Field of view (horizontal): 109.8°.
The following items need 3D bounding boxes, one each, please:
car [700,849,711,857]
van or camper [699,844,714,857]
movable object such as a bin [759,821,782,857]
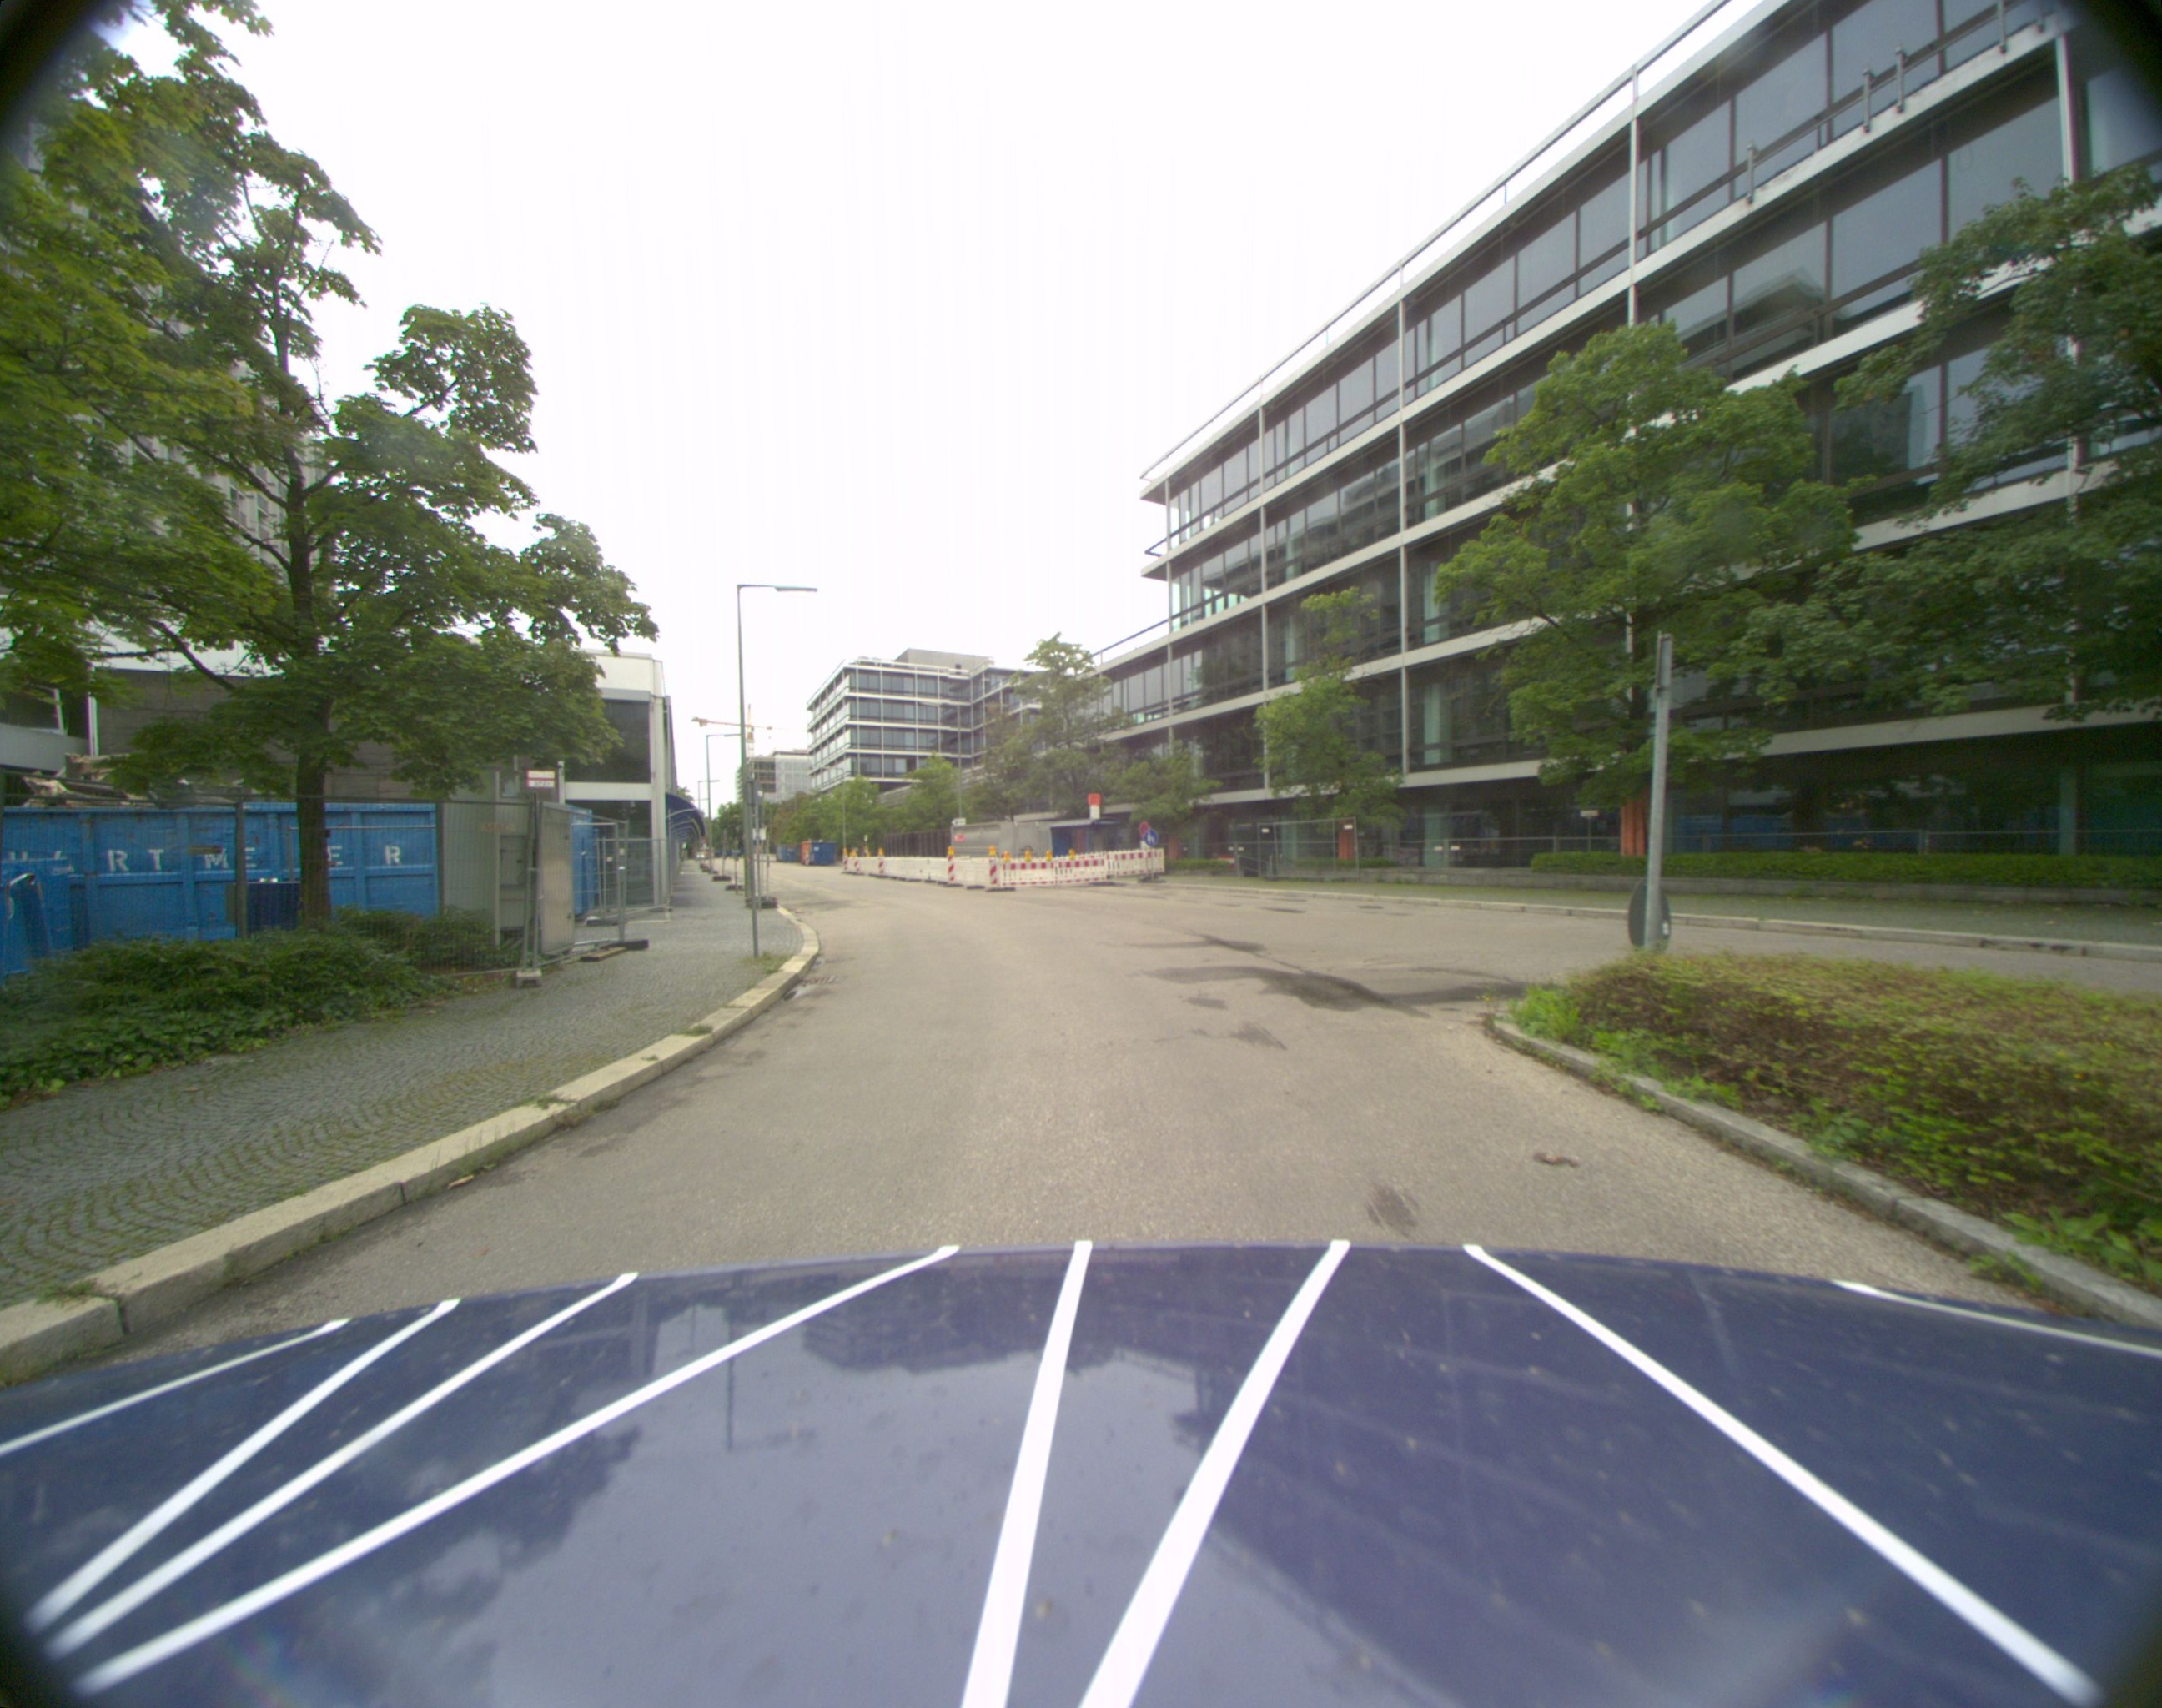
[{"bbox_3d":[-78.020,-0.133,157.837,1.916,1.627,3.991,-2,1,-26],"label":"car"},{"bbox_3d":[-80.562,-0.755,163.566,2.672,2.751,6.900,-2,1,-24],"label":"van or camper"},{"bbox_3d":[-57.027,-2.728,139.487,3.248,6.286,8.318,-2,1,-25],"label":"movable object such as a bin"}]
